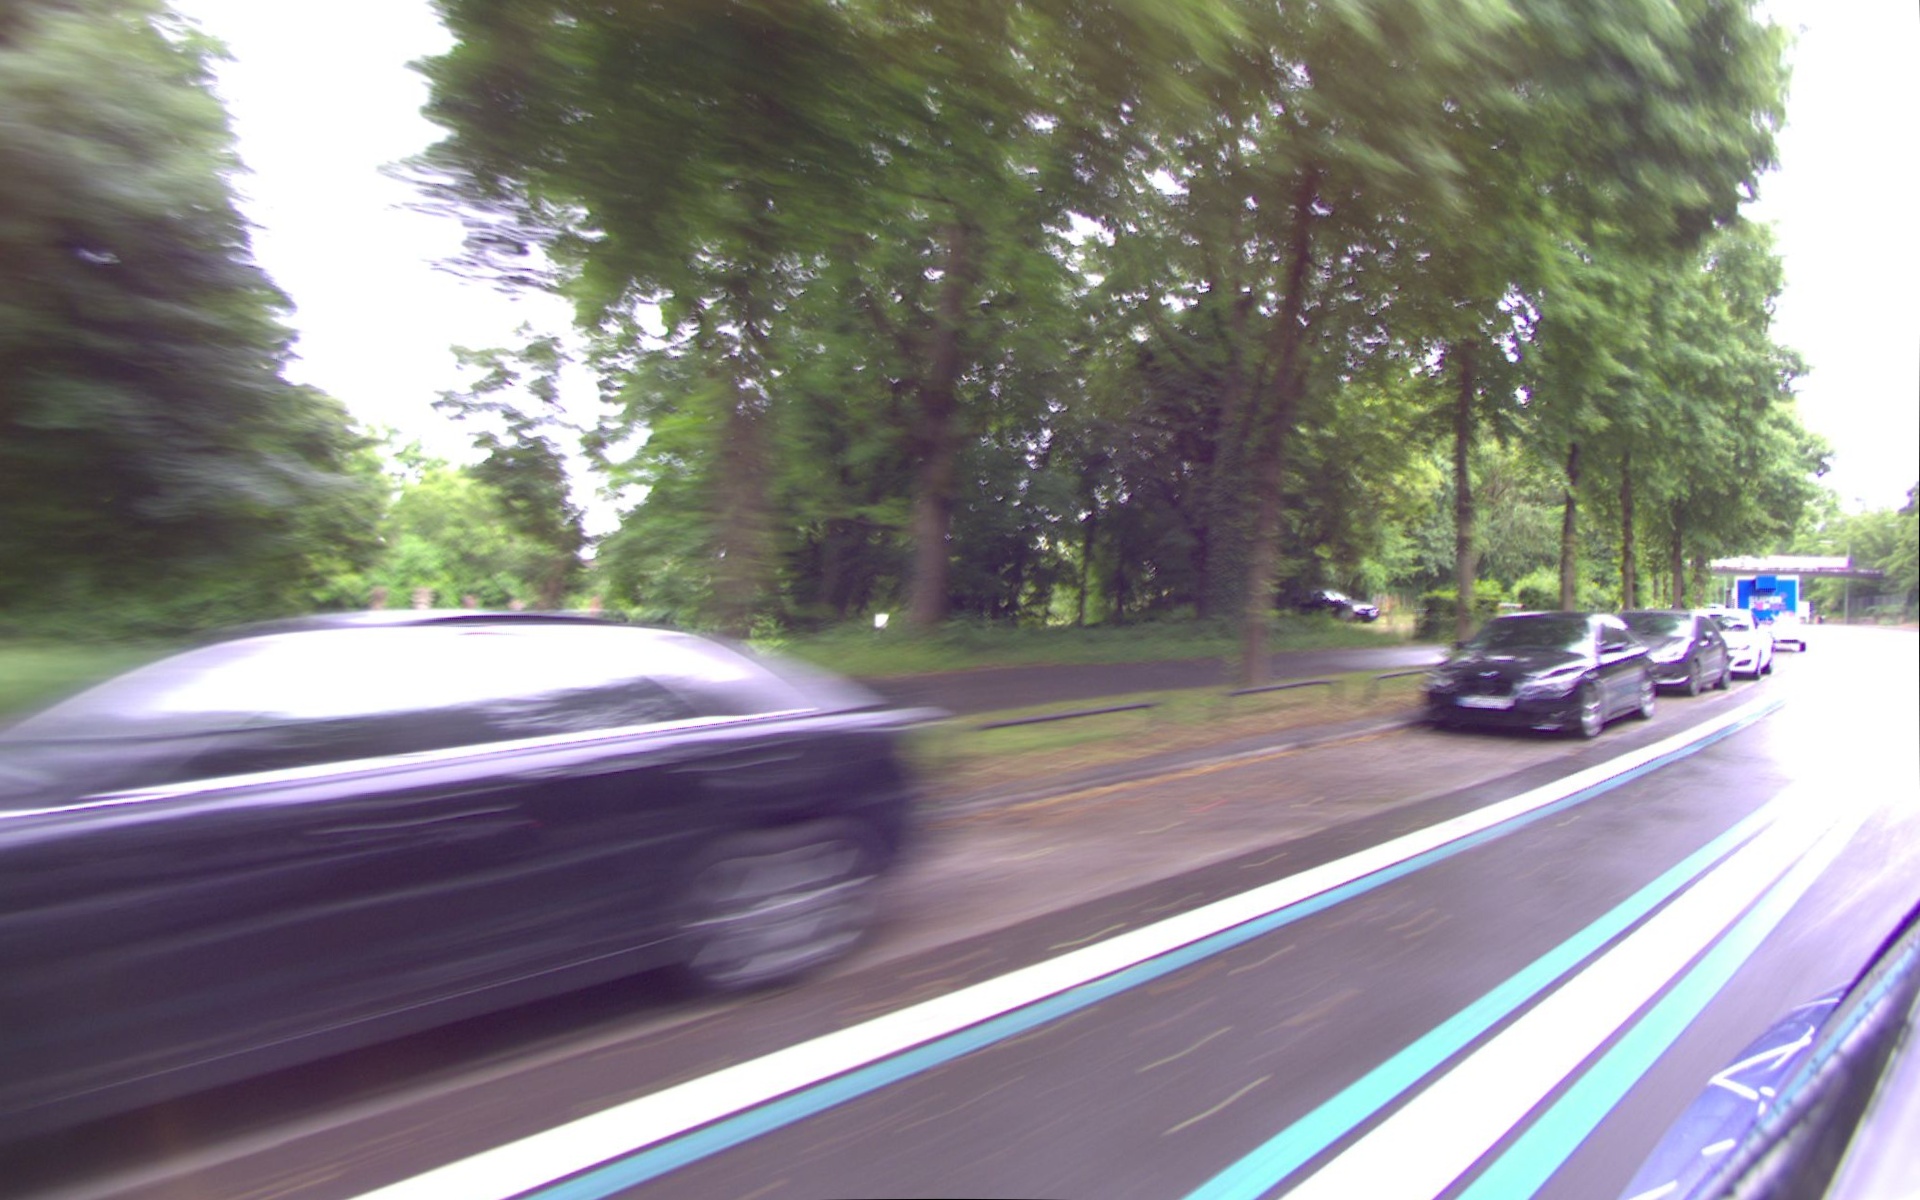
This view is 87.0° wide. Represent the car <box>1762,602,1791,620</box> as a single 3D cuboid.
[{"bbox_3d":[97.282,1.336,120.665,1.970,1.939,5.166,2,-1,32],"label":"car"}]

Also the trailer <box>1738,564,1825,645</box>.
[{"bbox_3d":[29.670,0.156,36.588,2.312,2.706,5.299,0,0,39],"label":"trailer"}]

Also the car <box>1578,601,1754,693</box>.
[{"bbox_3d":[12.706,0.753,18.116,4.244,1.446,1.685,0,0,-43],"label":"car"}]

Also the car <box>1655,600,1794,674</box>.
[{"bbox_3d":[16.920,0.743,22.315,1.860,1.446,4.575,-1,0,44],"label":"car"}]

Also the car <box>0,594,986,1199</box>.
[{"bbox_3d":[-2.165,0.715,3.532,4.684,1.438,1.700,0,-1,-44],"label":"car"}]

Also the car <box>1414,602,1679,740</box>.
[{"bbox_3d":[7.686,0.761,13.029,4.766,1.425,1.782,0,0,-45],"label":"car"}]

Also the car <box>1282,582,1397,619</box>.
[{"bbox_3d":[15.837,-0.009,42.375,1.856,1.338,4.148,0,3,-38],"label":"car"}]
